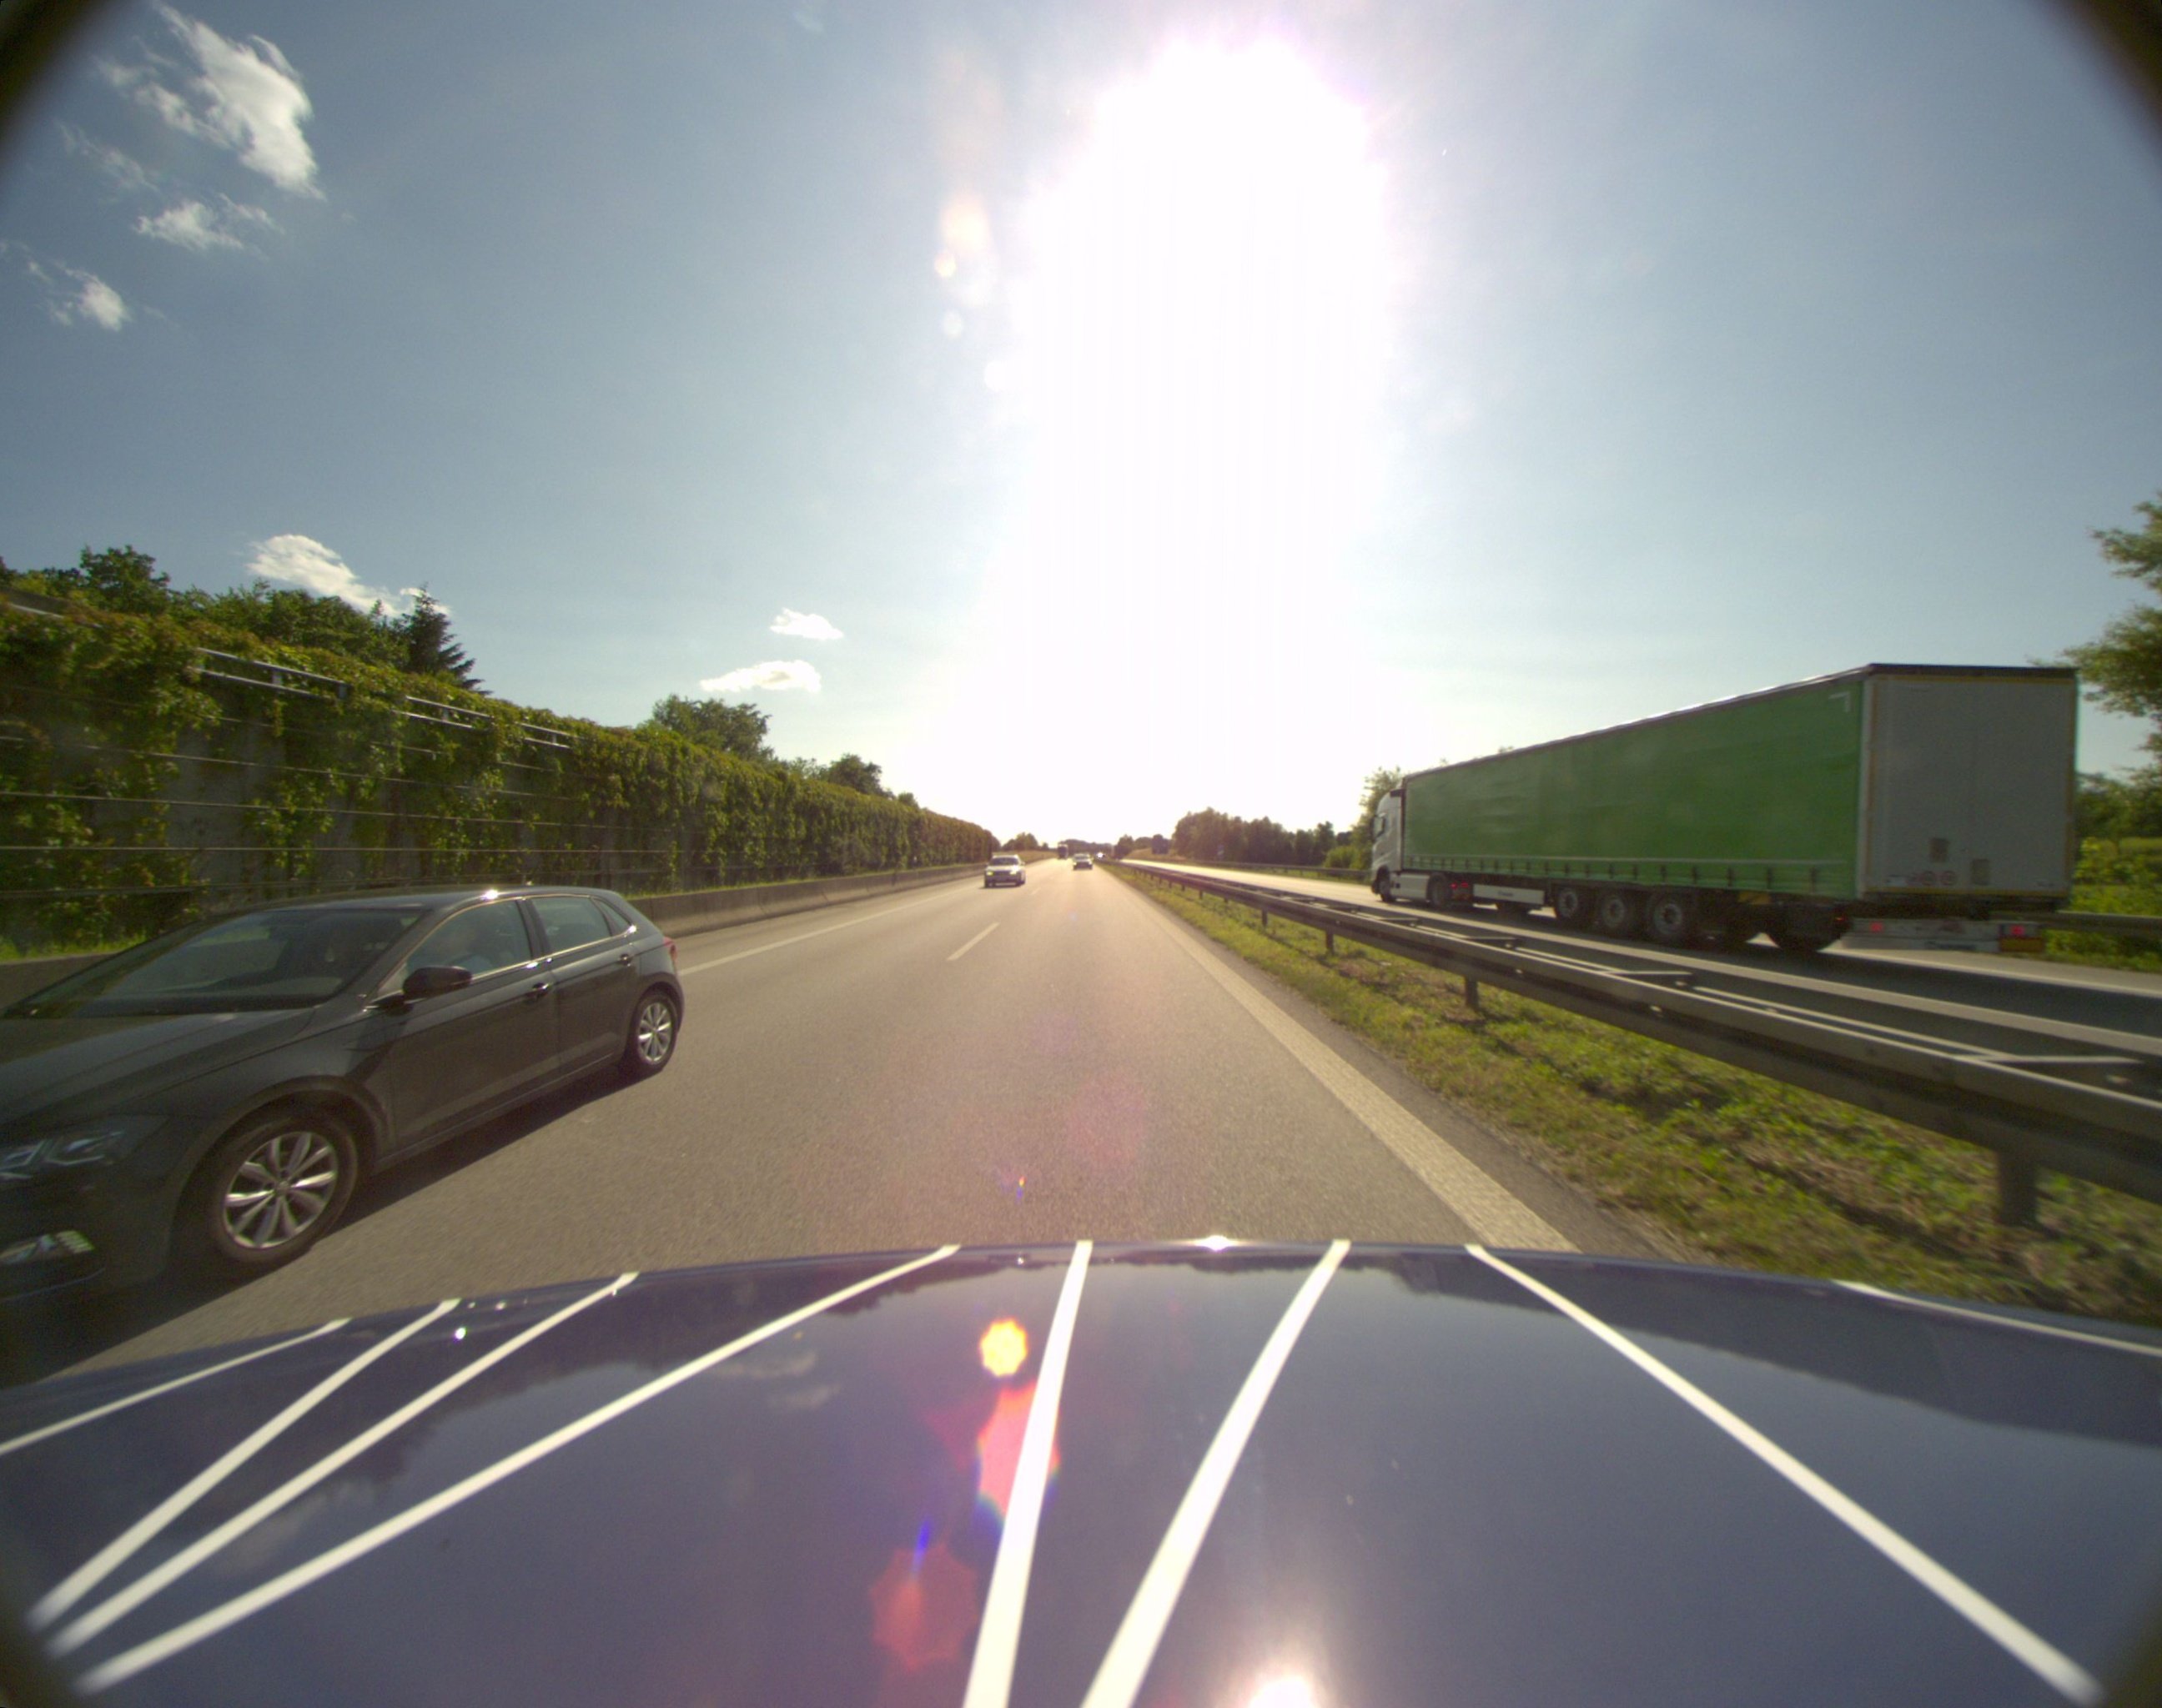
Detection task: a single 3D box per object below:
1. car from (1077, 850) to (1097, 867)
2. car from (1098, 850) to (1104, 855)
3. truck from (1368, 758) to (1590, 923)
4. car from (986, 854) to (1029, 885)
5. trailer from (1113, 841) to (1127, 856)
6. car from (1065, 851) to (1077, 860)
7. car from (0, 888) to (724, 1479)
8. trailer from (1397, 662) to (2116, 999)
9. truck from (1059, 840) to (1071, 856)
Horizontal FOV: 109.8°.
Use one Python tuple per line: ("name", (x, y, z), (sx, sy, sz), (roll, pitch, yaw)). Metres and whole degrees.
("car", (0.577, 0.398, 72.481), (1.870, 1.514, 4.283), (2, 0, 0))
("car", (6.660, -0.586, 254.942), (1.999, 1.655, 4.633), (2, 0, -1))
("truck", (11.036, -0.347, 22.101), (2.650, 3.985, 7.192), (1, 0, 0))
("car", (-3.693, 0.758, 38.946), (1.689, 1.487, 4.987), (-1, 0, 0))
("trailer", (10.805, -1.478, 210.546), (2.795, 4.136, 14.391), (1, 0, -1))
("car", (-1.367, 0.242, 107.918), (1.689, 1.309, 4.076), (0, 0, 0))
("car", (-3.895, 1.048, 4.171), (1.669, 1.446, 4.544), (-1, 0, 0))
("trailer", (10.993, -0.306, 16.131), (2.668, 3.985, 14.086), (1, 0, 0))
("truck", (-4.219, -1.640, 202.272), (2.536, 4.228, 11.265), (1, 0, 1))
